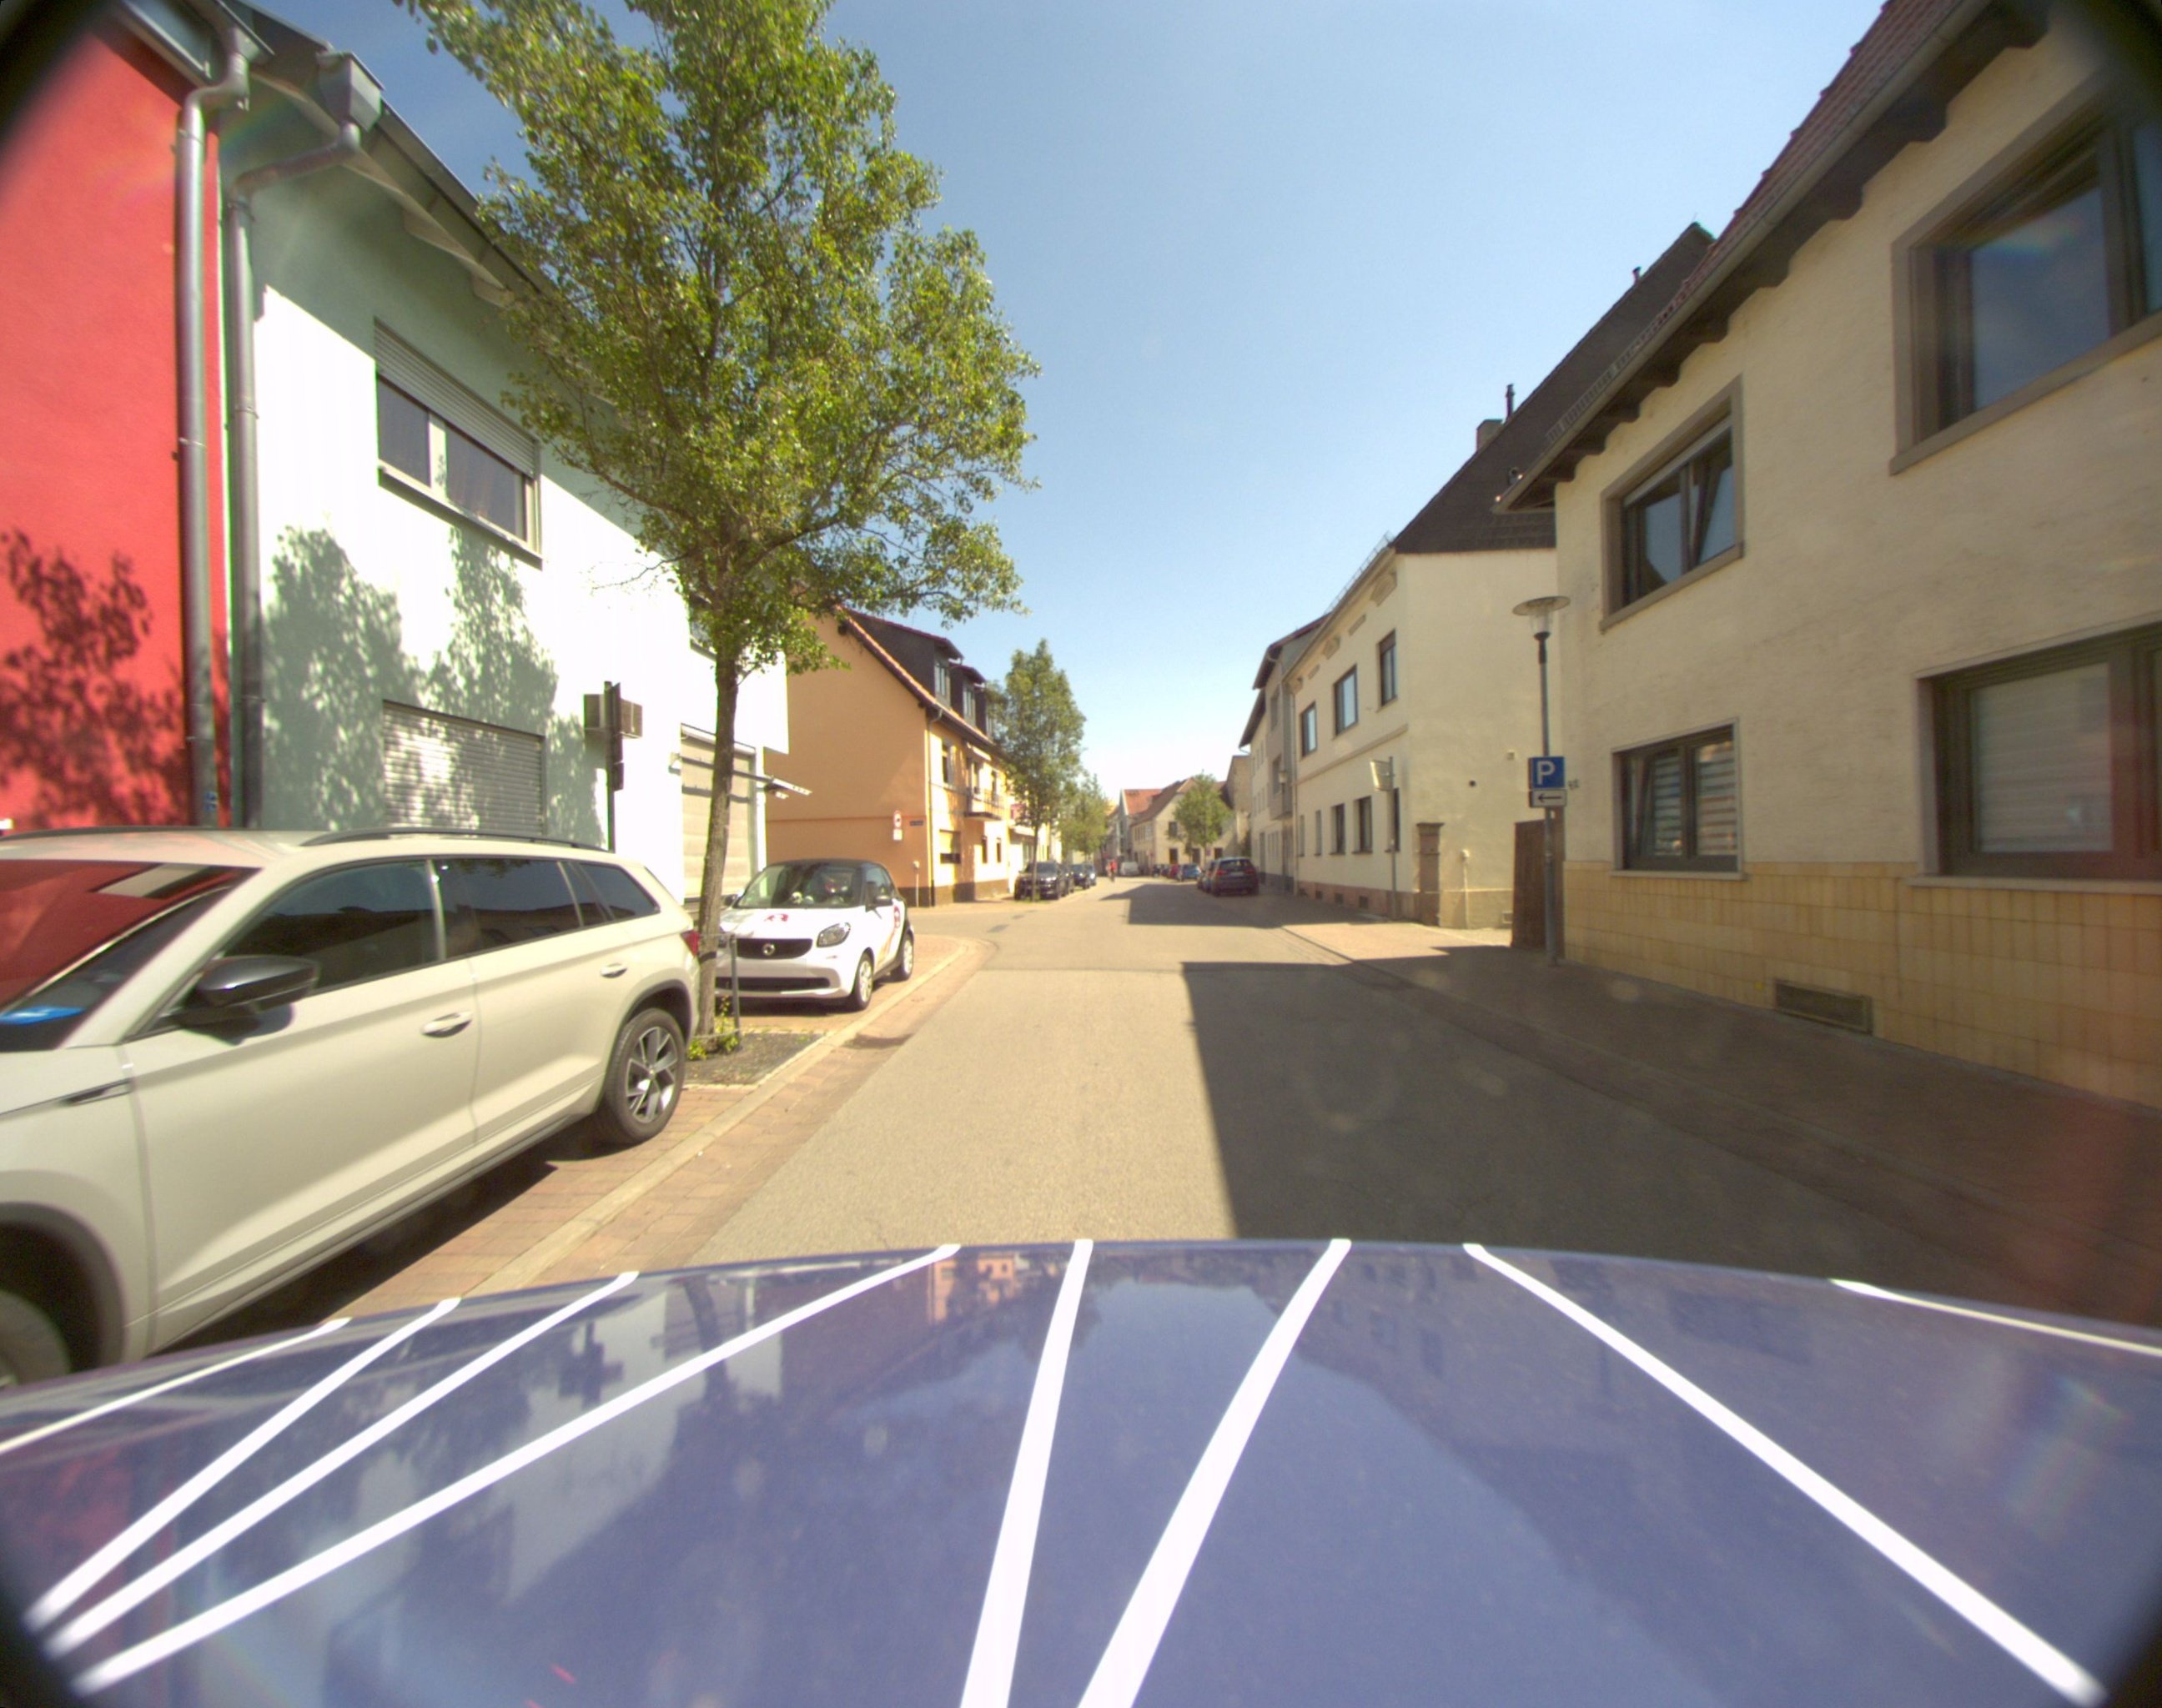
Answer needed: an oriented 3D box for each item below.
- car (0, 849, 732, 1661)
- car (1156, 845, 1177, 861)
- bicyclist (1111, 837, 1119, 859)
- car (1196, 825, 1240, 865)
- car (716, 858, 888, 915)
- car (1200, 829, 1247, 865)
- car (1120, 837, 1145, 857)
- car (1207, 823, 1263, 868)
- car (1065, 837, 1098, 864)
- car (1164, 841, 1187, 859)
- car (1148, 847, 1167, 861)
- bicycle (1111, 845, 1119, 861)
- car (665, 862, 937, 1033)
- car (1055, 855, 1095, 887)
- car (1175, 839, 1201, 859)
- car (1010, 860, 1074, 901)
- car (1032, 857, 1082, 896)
[{"bbox_3d":[-3.198,0.840,2.587,1.871,1.674,4.661,1,0,0],"label":"car"},{"bbox_3d":[8.675,-0.087,77.255,1.571,1.452,3.802,2,-2,0],"label":"car"},{"bbox_3d":[2.836,-0.482,63.480,0.645,1.766,0.722,2,-1,3],"label":"bicyclist"},{"bbox_3d":[7.470,-0.483,41.806,1.998,1.936,4.110,-3,0,6],"label":"car"},{"bbox_3d":[-8.139,0.953,22.508,4.298,1.474,2.000,2,-2,0],"label":"car"},{"bbox_3d":[6.942,-0.296,37.335,1.916,1.604,3.989,-1,-2,6],"label":"car"},{"bbox_3d":[6.416,-0.860,94.996,2.443,2.223,4.960,-3,0,-2],"label":"car"},{"bbox_3d":[6.441,-0.340,32.083,1.863,1.620,4.049,-5,0,7],"label":"car"},{"bbox_3d":[0.089,-0.227,54.182,1.998,1.759,4.109,-3,0,4],"label":"car"},{"bbox_3d":[8.550,-0.354,68.919,1.571,1.452,3.802,2,-2,0],"label":"car"},{"bbox_3d":[8.462,0.009,84.253,1.571,1.452,3.802,2,-2,0],"label":"car"},{"bbox_3d":[2.828,-0.053,63.348,0.635,1.227,1.894,2,-2,3],"label":"bicycle"},{"bbox_3d":[-3.018,0.901,9.151,1.715,1.534,3.998,2,0,1],"label":"car"},{"bbox_3d":[-0.293,1.051,45.378,1.998,1.759,4.111,2,-2,4],"label":"car"},{"bbox_3d":[8.839,-0.409,62.875,1.571,1.452,3.801,-3,0,0],"label":"car"},{"bbox_3d":[-1.593,1.095,32.666,1.928,1.593,4.112,2,-1,8],"label":"car"},{"bbox_3d":[-1.142,1.106,38.602,1.998,1.759,4.110,-4,-1,4],"label":"car"}]
